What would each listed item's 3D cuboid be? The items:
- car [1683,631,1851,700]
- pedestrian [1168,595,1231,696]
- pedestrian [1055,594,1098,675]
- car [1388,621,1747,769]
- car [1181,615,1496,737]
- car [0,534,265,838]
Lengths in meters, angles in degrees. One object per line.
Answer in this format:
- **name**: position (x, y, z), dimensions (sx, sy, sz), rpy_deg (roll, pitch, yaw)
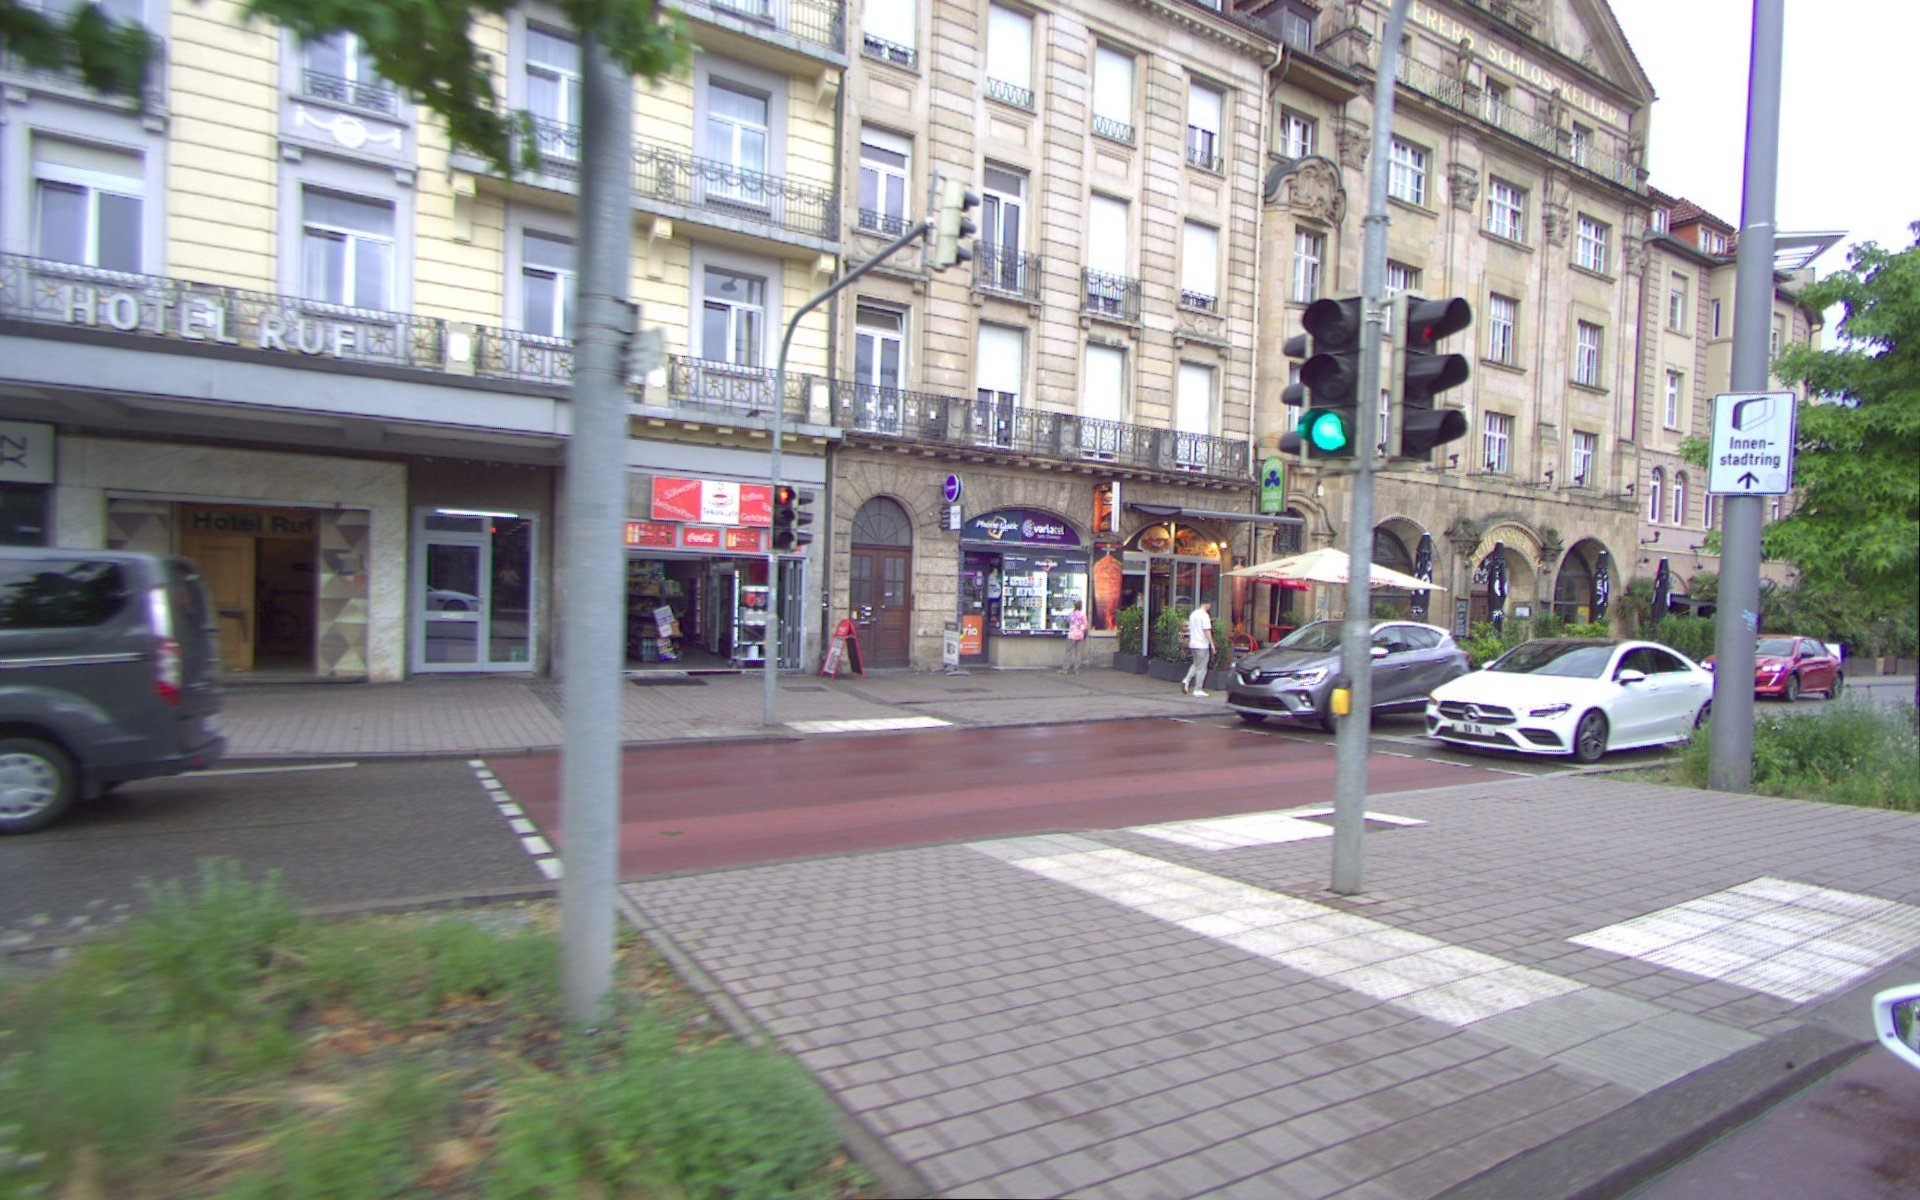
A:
- **car**: position (18.613, 1.472, 23.142), dimensions (3.906, 1.449, 1.739), rpy_deg (2, -2, -30)
- **pedestrian**: position (4.484, 0.851, 18.839), dimensions (0.741, 1.836, 0.875), rpy_deg (2, -1, -30)
- **pedestrian**: position (2.516, 0.744, 21.772), dimensions (0.532, 1.686, 0.661), rpy_deg (2, 2, -38)
- **car**: position (7.801, 1.102, 12.812), dimensions (4.578, 1.564, 1.984), rpy_deg (2, -1, -30)
- **car**: position (5.699, 1.070, 15.014), dimensions (4.578, 1.564, 1.984), rpy_deg (2, -2, -30)
- **car**: position (-8.021, 0.568, 7.021), dimensions (4.940, 2.040, 1.985), rpy_deg (2, -2, -29)
